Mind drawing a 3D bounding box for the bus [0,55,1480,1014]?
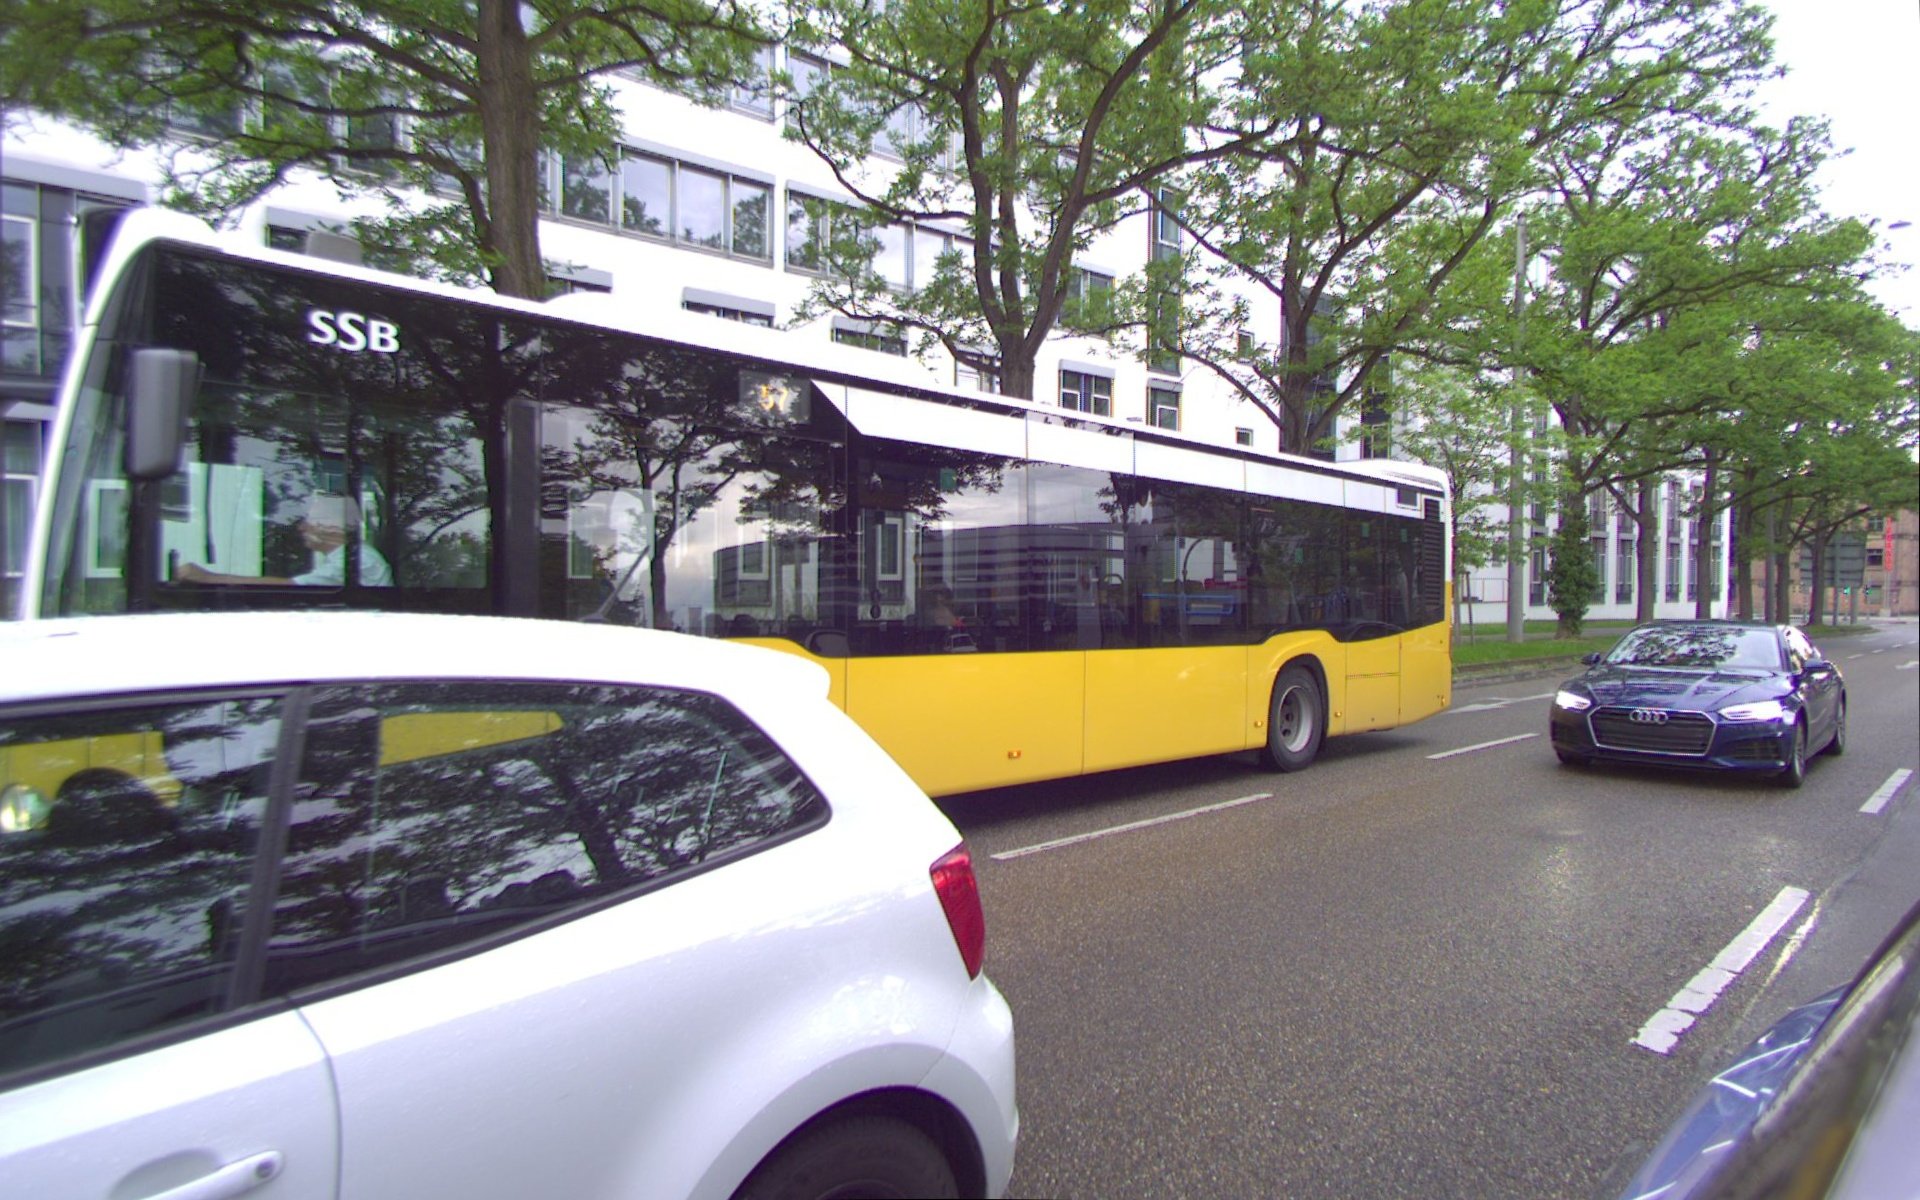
[{"bbox_3d":[0.378,-0.177,8.321,11.933,3.192,2.731,0,-1,-41],"label":"bus"}]

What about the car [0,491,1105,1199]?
[{"bbox_3d":[-1.680,0.629,1.509,3.746,1.450,1.743,-1,0,-41],"label":"car"}]

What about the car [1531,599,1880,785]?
[{"bbox_3d":[7.401,0.713,9.887,4.257,1.371,1.876,-1,0,-41],"label":"car"}]
